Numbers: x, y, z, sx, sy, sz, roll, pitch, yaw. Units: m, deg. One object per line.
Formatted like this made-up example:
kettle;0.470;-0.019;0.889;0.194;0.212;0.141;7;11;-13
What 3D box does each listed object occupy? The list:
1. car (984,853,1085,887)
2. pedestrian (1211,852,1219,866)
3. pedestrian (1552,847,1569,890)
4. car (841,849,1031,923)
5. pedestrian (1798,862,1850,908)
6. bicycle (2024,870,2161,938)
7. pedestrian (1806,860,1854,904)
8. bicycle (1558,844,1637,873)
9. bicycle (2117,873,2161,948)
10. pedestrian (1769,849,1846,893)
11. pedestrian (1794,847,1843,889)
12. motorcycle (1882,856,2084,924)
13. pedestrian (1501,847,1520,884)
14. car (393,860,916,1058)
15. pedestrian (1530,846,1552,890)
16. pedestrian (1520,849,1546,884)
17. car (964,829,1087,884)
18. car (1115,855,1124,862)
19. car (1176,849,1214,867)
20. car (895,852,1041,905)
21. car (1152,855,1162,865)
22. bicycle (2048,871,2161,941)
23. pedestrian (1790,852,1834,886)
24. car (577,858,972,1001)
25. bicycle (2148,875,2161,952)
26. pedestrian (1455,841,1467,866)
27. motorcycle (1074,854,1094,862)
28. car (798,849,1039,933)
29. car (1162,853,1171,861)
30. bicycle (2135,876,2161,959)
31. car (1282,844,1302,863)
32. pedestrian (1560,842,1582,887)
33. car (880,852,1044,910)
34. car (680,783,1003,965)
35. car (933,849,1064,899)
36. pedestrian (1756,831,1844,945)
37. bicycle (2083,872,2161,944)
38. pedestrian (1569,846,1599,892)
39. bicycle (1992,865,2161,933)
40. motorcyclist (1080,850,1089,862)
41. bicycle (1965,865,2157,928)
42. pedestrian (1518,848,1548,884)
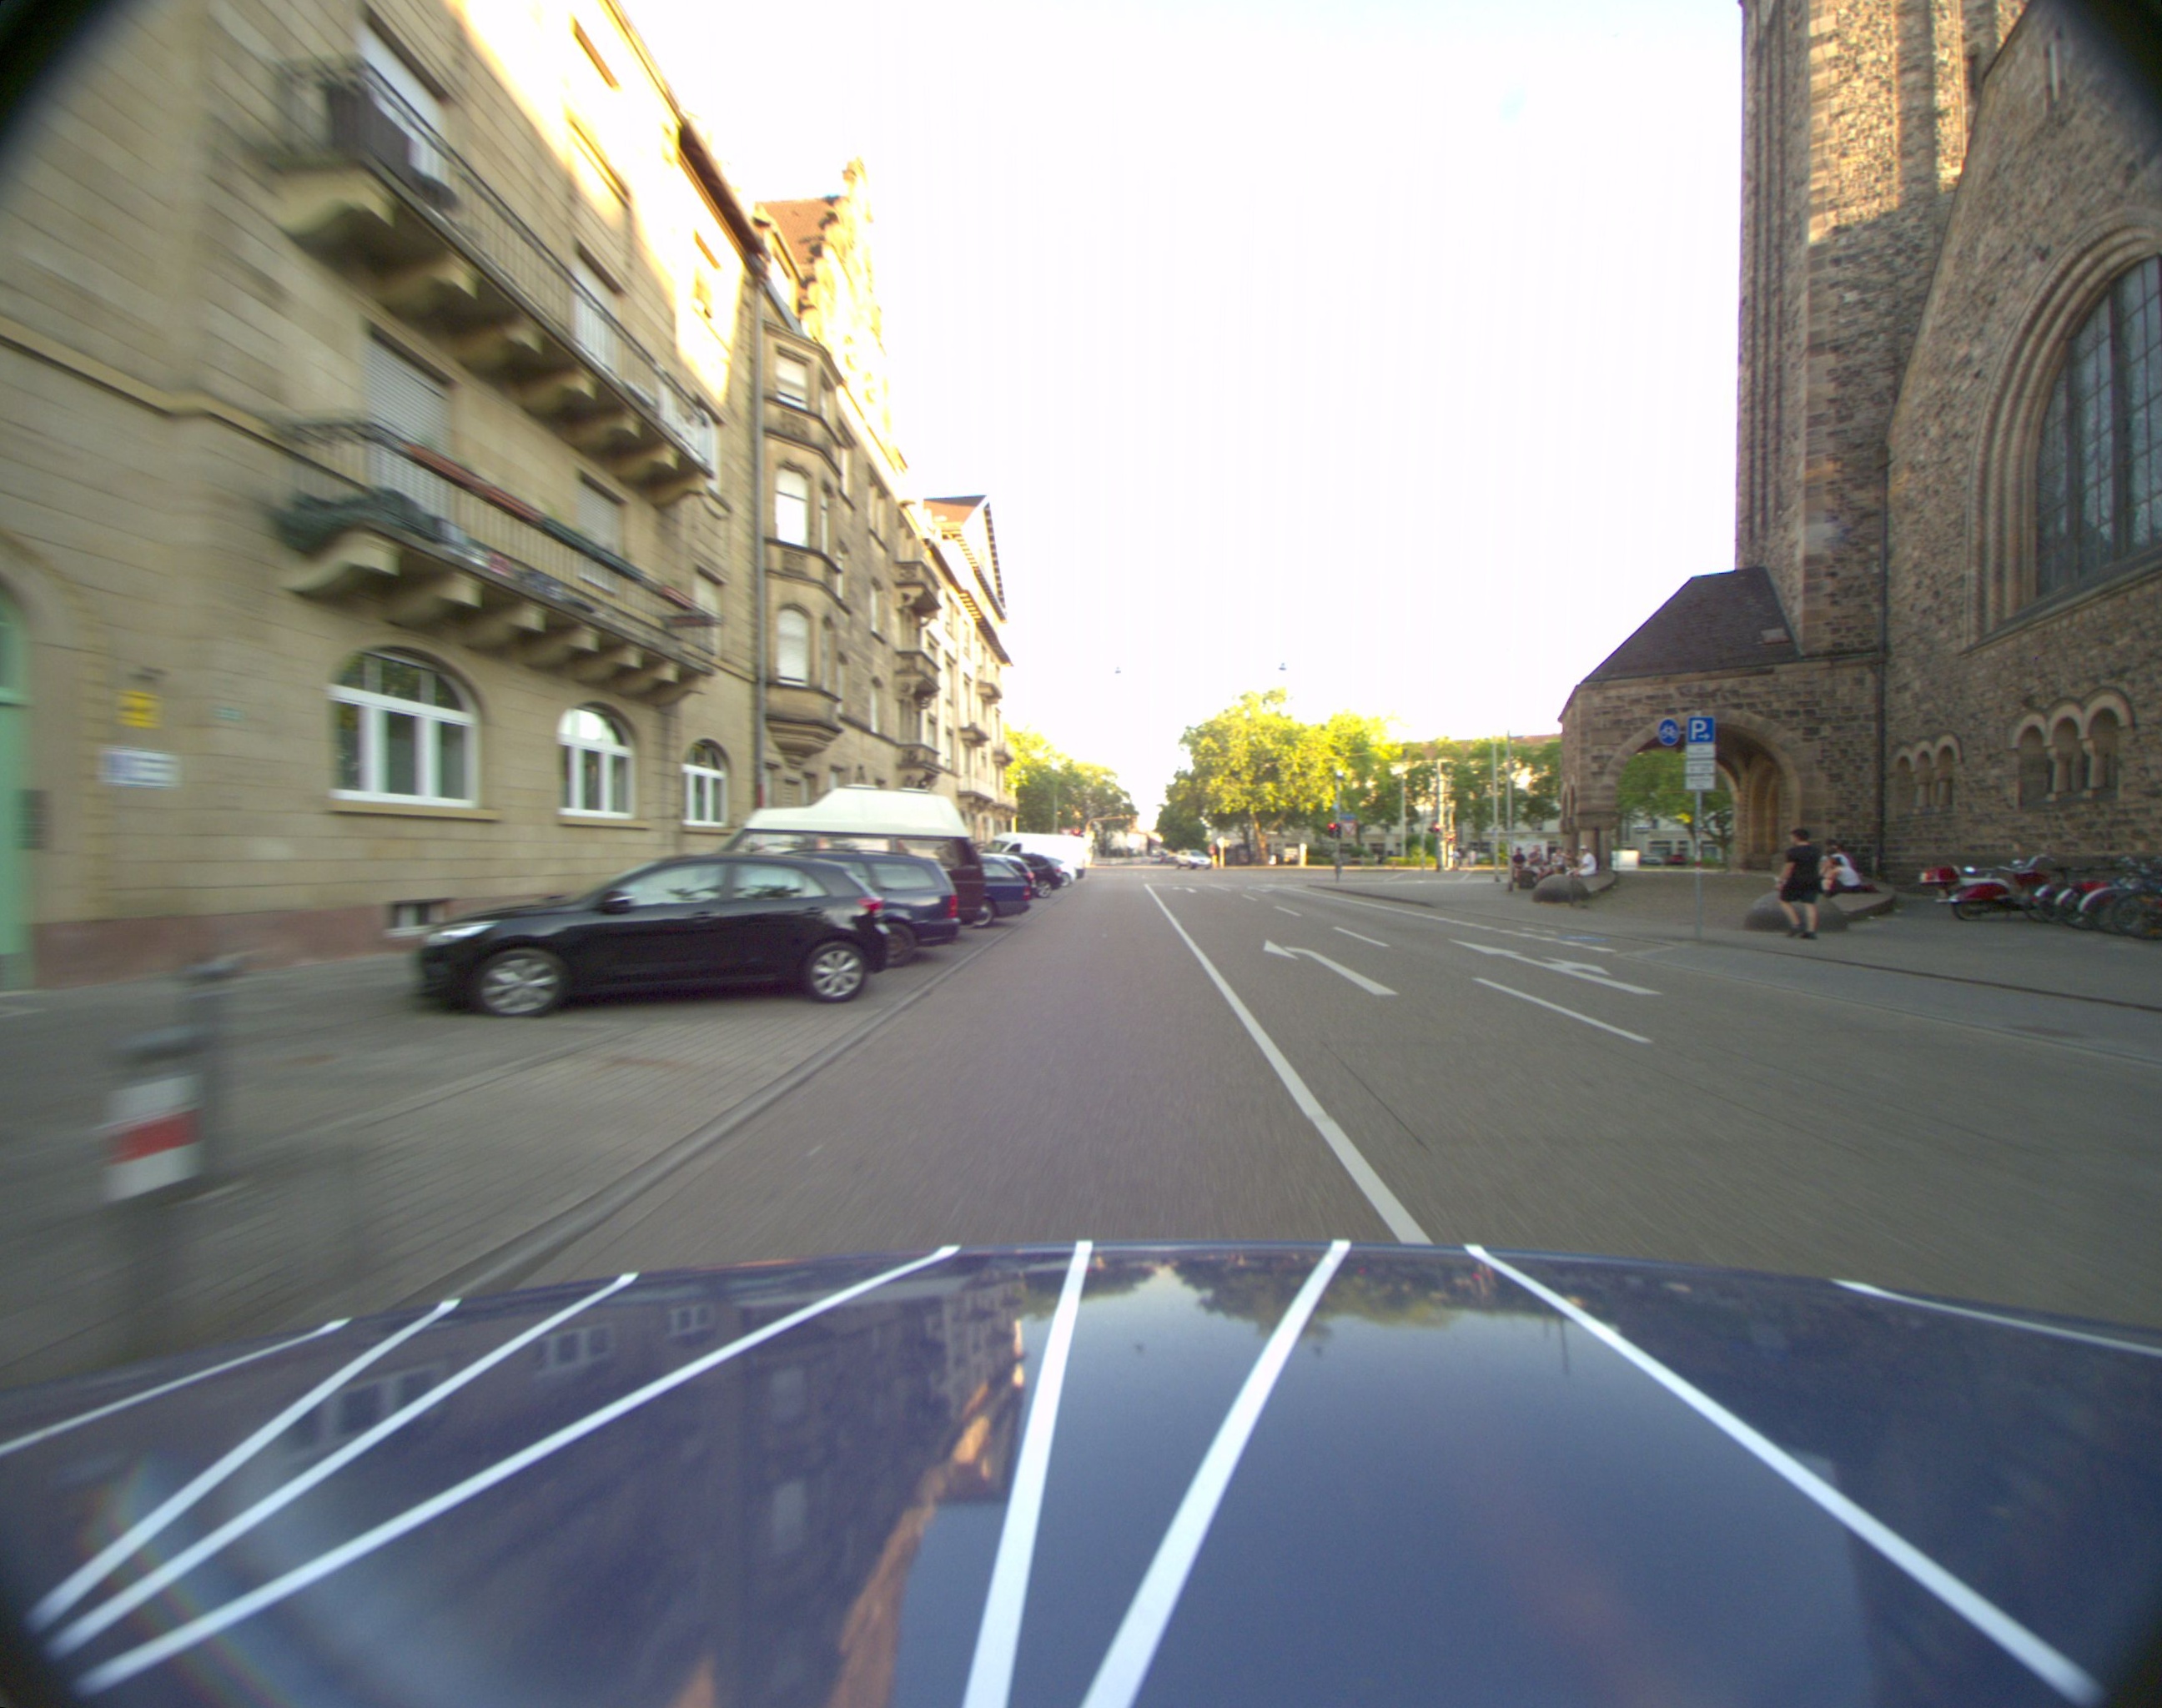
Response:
car;-2.164;0.736;35.637;4.263;1.445;1.994;1;1;-35
pedestrian;15.118;0.579;85.787;0.745;1.619;0.661;0;1;20
pedestrian;15.729;0.465;24.911;0.401;1.398;0.549;0;1;38
car;-3.454;0.712;18.131;4.127;1.537;1.791;1;3;-25
pedestrian;16.459;0.668;16.848;0.562;0.986;0.694;-1;1;-30
bicycle;15.742;0.743;11.437;2.004;0.983;0.467;0;1;18
pedestrian;16.955;0.624;17.200;0.562;0.962;0.648;-1;1;-30
bicycle;18.792;0.160;27.691;2.281;1.051;0.596;0;1;21
bicycle;15.172;0.757;10.041;1.880;0.983;0.371;0;1;18
pedestrian;18.706;0.417;19.590;0.686;1.088;1.329;-1;1;-36
pedestrian;19.327;0.365;19.923;0.649;1.069;0.828;-1;1;-36
motorcycle;16.207;0.638;13.712;2.419;1.119;0.822;-2;0;7
pedestrian;17.296;0.450;30.585;0.628;1.445;0.917;0;1;30
car;-3.890;0.827;7.579;4.076;1.483;1.720;0;1;-28
pedestrian;15.233;0.450;25.155;0.549;1.445;0.559;0;1;38
pedestrian;17.999;0.481;30.240;0.801;1.366;0.701;0;1;37
car;-2.720;0.137;38.386;5.897;2.537;2.189;1;2;-37
car;8.469;0.998;167.703;1.793;1.571;4.002;0;0;7
car;9.782;0.343;65.642;1.842;1.549;3.995;0;0;-14
car;-3.475;0.747;23.536;4.065;1.489;1.749;2;1;-32
car;15.270;1.205;151.925;1.991;1.945;4.598;0;0;6
bicycle;15.526;0.747;10.972;2.004;0.983;0.467;0;1;18
pedestrian;19.729;0.391;20.508;0.649;0.910;0.738;-1;1;-36
car;-3.822;0.819;9.960;4.362;1.494;1.909;0;1;-24
bicycle;14.829;0.769;9.494;1.880;0.983;0.371;0;1;18
pedestrian;27.603;-0.032;55.156;0.709;1.836;1.161;0;1;24
motorcycle;0.342;0.522;91.415;2.288;0.917;0.622;0;0;-22
car;-3.268;0.729;15.387;4.406;1.478;1.839;2;0;-27
car;18.321;0.602;162.140;1.826;1.565;4.002;-1;0;8
bicycle;14.405;0.762;9.070;2.183;1.006;0.554;-2;1;20
car;22.764;-0.025;81.867;1.865;2.002;3.815;0;0;18
pedestrian;15.508;0.337;24.037;0.546;1.398;0.459;0;1;38
car;-3.260;0.744;21.057;4.042;1.423;1.863;2;1;-31
car;-3.847;0.250;12.481;4.732;2.532;1.914;-1;1;-26
car;-2.828;0.687;26.439;4.107;1.598;1.811;2;1;-34
pedestrian;11.171;0.517;11.831;0.715;1.715;0.692;0;1;10
bicycle;15.372;0.744;10.457;1.986;0.983;0.467;0;1;18
pedestrian;15.494;0.453;23.392;0.702;1.398;0.633;0;1;38
bicycle;16.029;0.713;12.045;2.004;0.983;0.586;-3;0;18
motorcyclist;0.403;0.235;91.433;0.830;1.511;0.622;0;1;-22
bicycle;16.343;0.689;12.724;2.004;0.983;0.586;0;1;16
pedestrian;17.560;0.464;29.518;0.700;1.366;0.801;-1;1;-35
